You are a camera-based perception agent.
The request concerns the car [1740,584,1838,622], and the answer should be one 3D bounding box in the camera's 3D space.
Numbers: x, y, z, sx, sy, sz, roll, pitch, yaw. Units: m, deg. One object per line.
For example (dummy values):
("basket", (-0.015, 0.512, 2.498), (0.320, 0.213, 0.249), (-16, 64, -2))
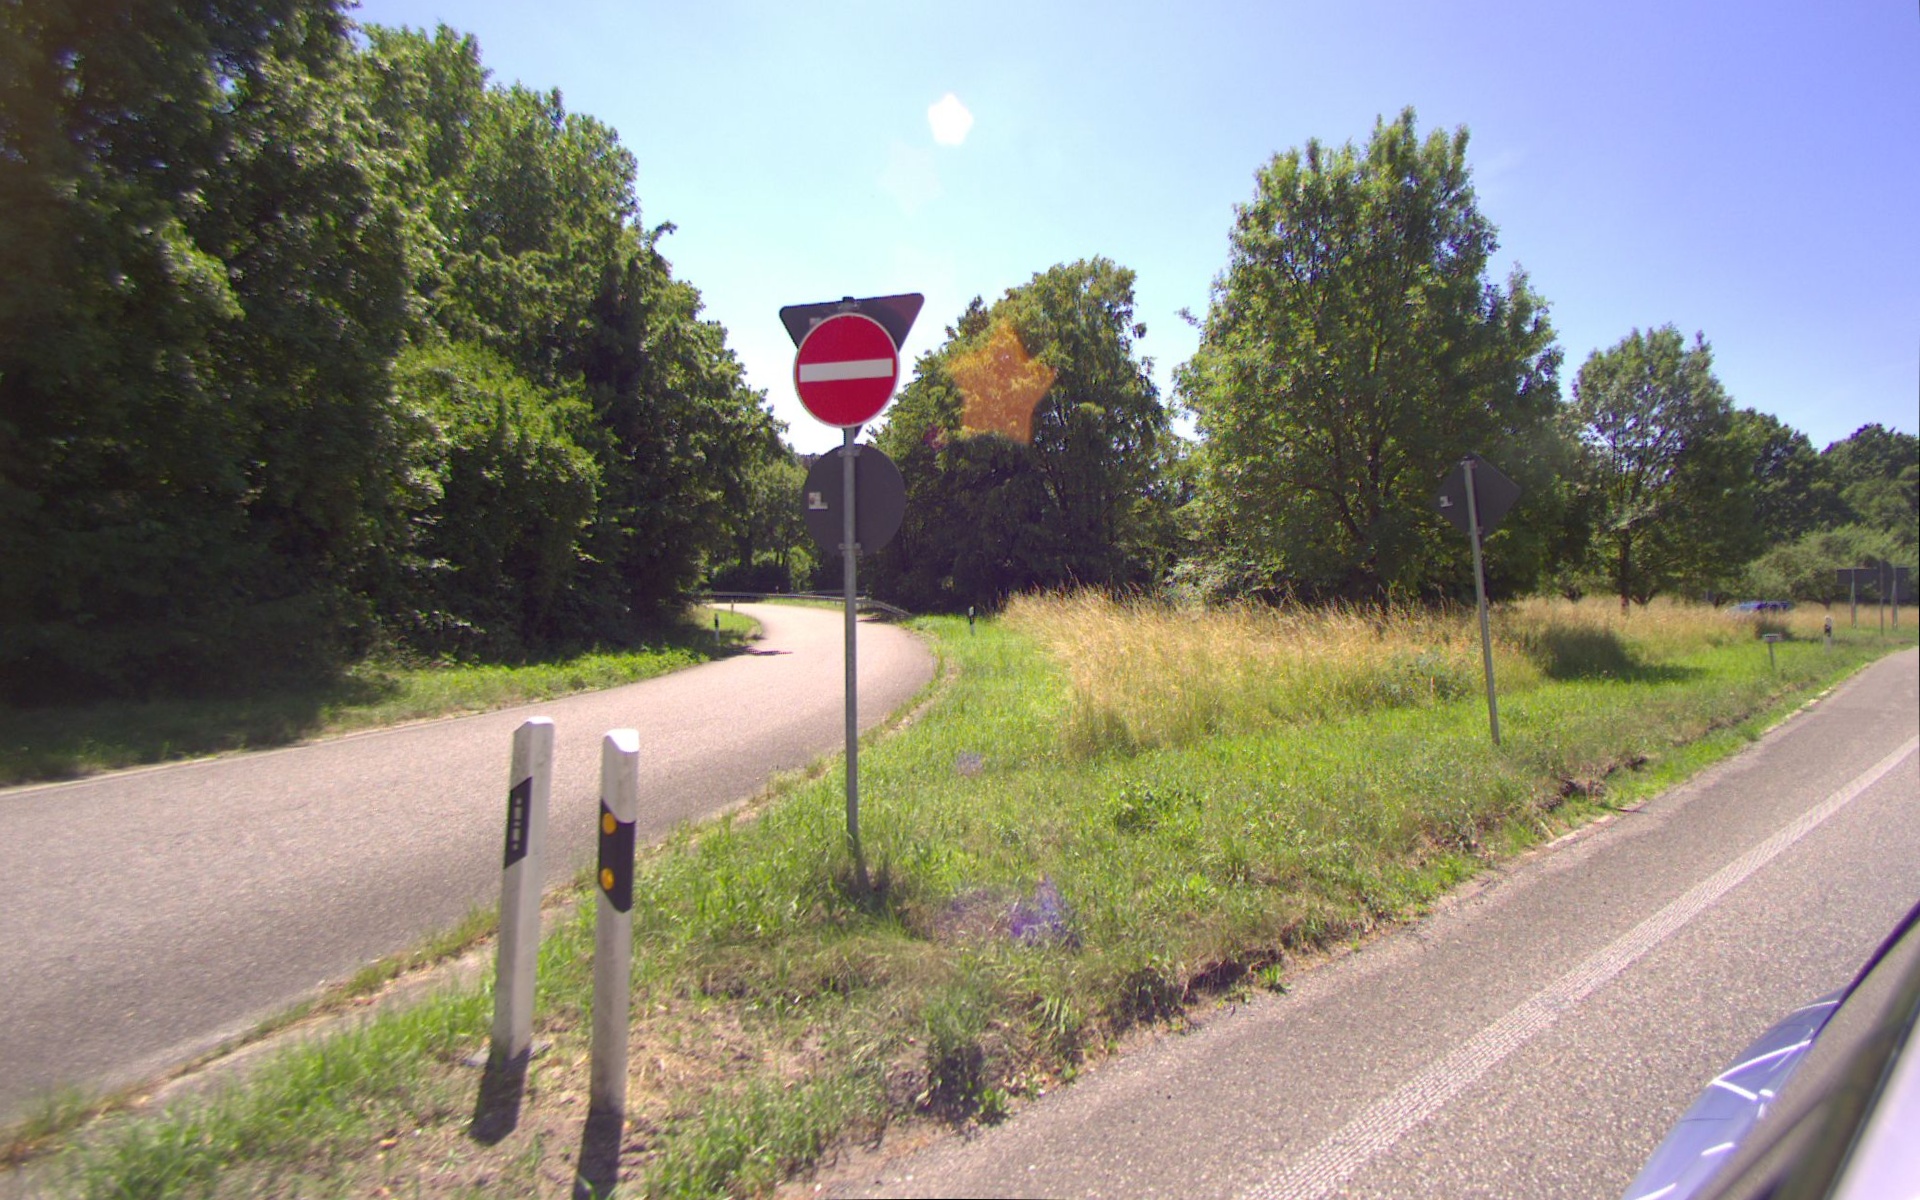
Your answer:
("car", (42.931, 0.149, 52.466), (3.917, 1.867, 1.751), (1, 1, -9))
